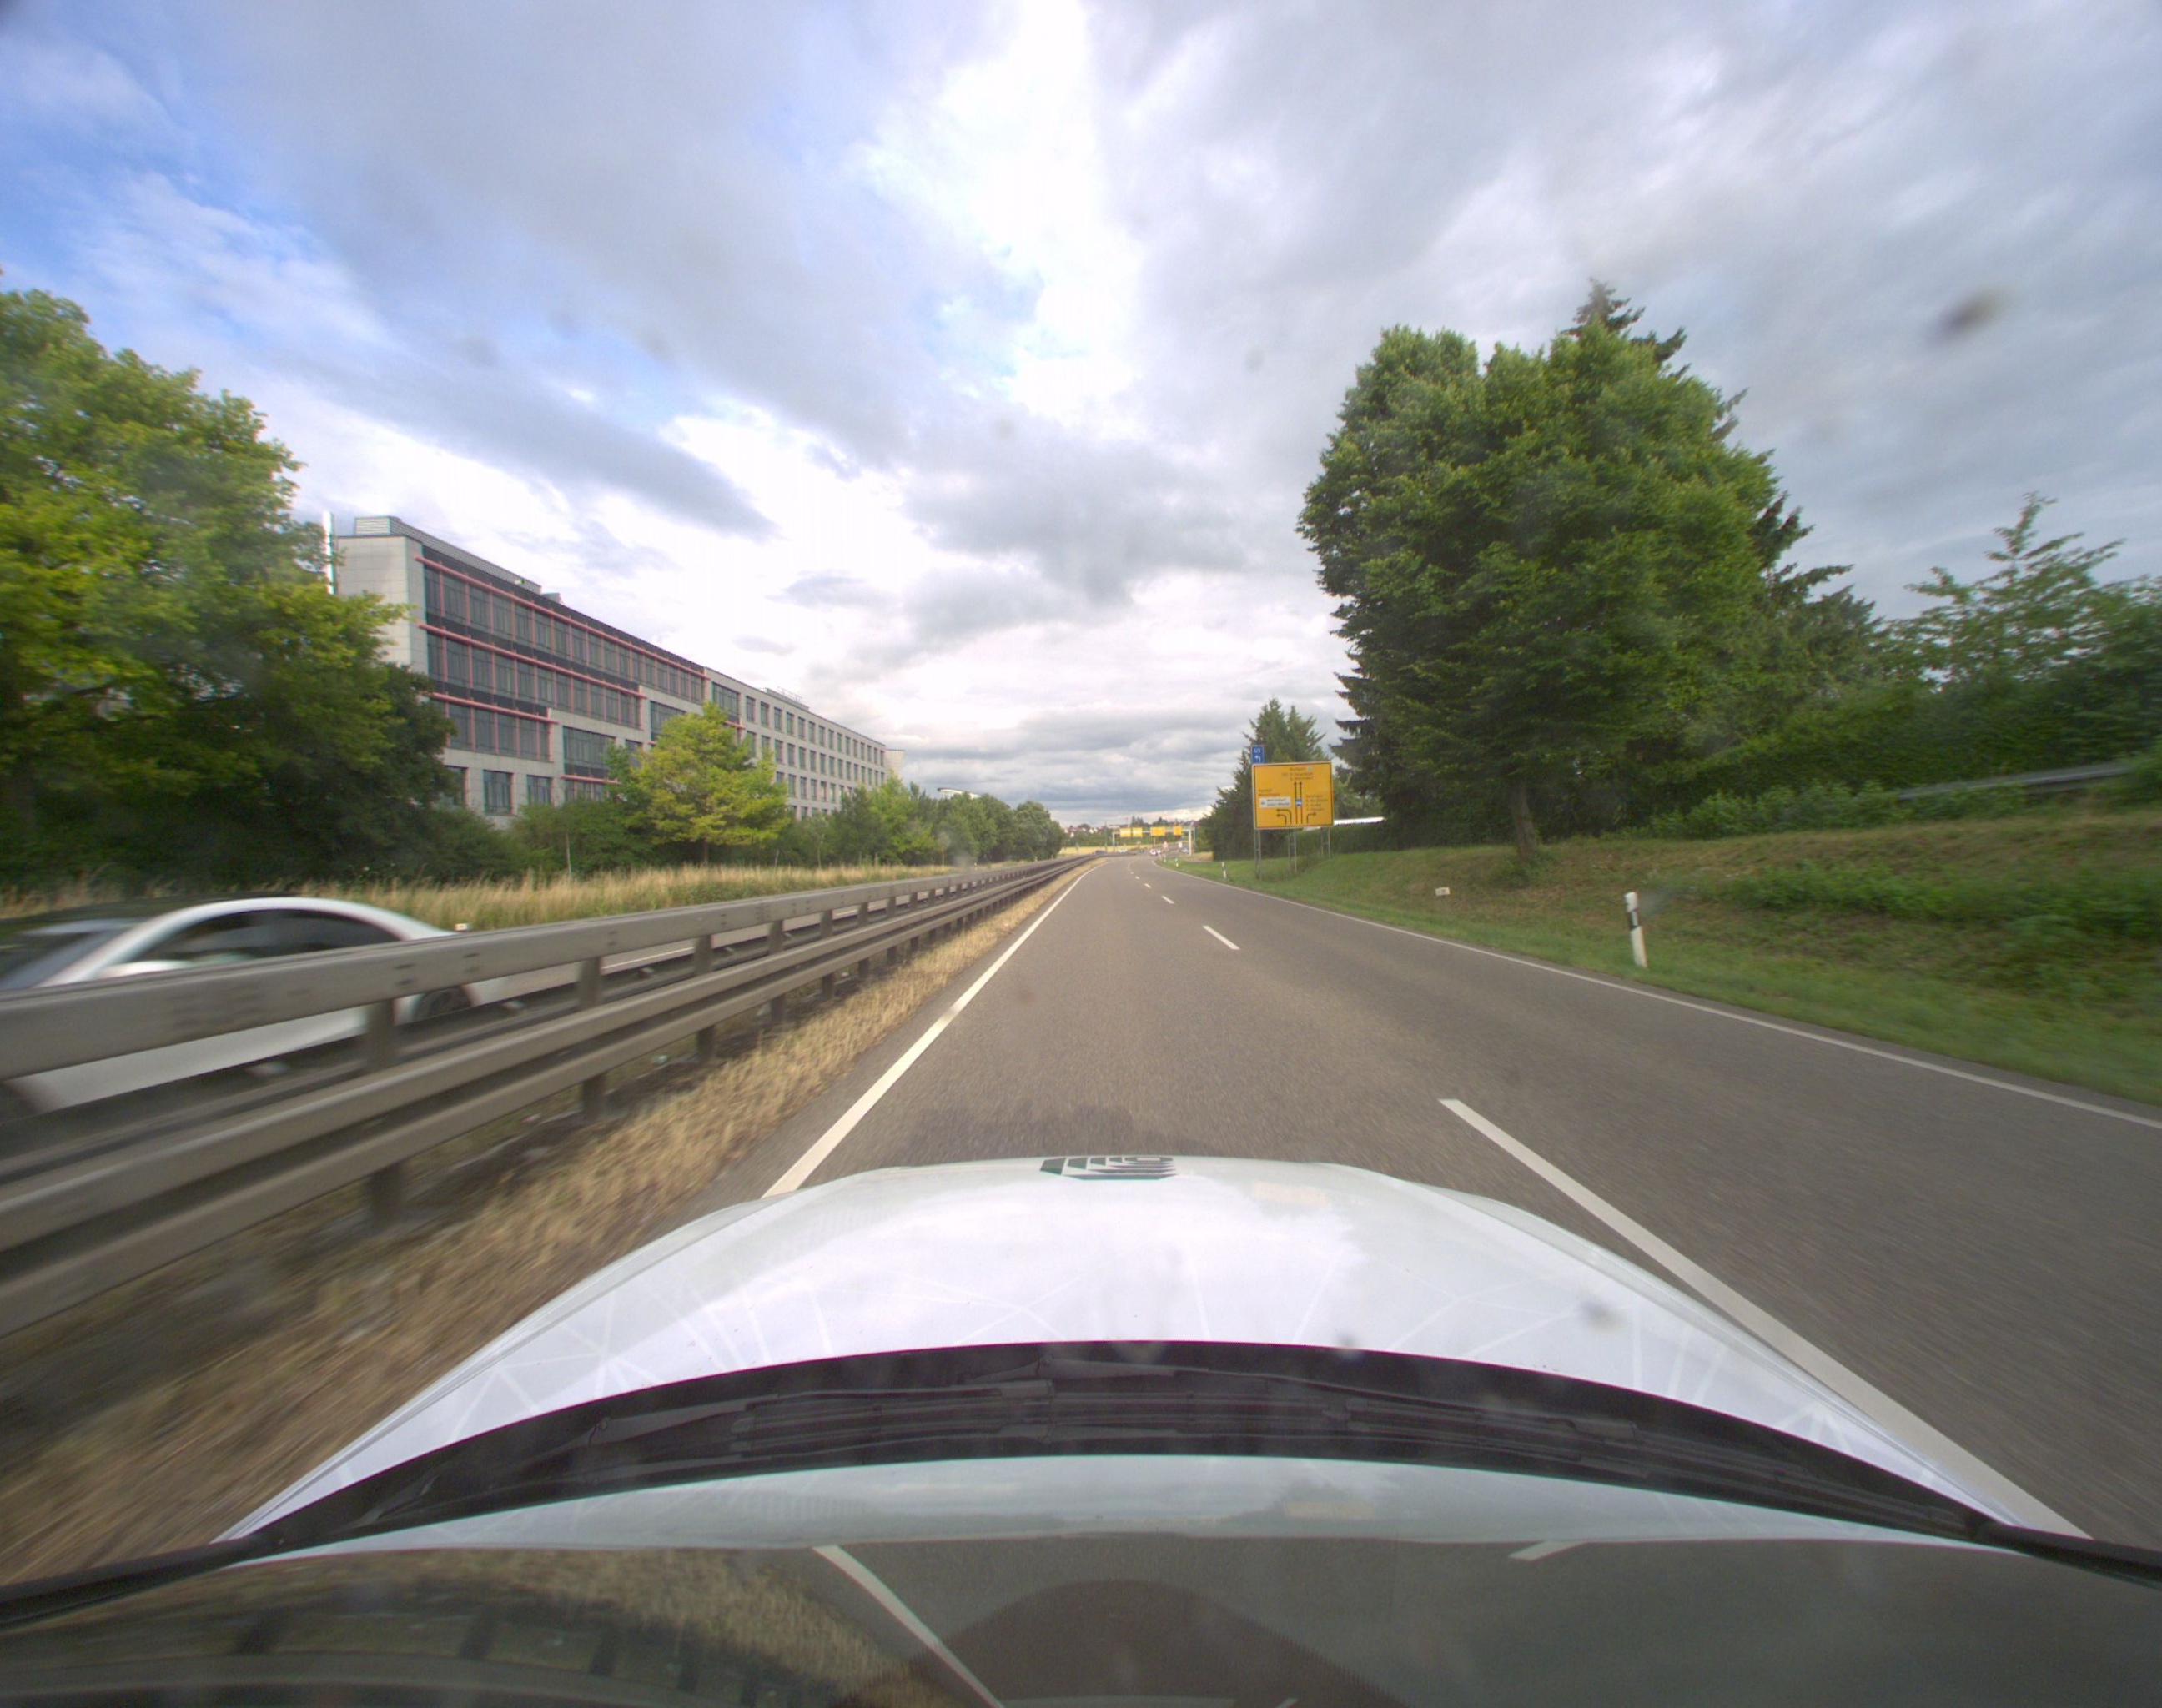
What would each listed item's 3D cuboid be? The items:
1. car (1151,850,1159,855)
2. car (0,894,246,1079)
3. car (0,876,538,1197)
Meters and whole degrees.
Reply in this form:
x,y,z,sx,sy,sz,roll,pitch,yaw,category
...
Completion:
x,y,z,sx,sy,sz,roll,pitch,yaw,category
23.484,-0.395,257.873,1.784,1.556,4.017,-1,0,16,car
-9.844,1.201,6.359,1.750,1.422,4.569,-3,0,2,car
-5.955,0.958,5.160,1.828,1.378,4.567,-3,0,1,car
